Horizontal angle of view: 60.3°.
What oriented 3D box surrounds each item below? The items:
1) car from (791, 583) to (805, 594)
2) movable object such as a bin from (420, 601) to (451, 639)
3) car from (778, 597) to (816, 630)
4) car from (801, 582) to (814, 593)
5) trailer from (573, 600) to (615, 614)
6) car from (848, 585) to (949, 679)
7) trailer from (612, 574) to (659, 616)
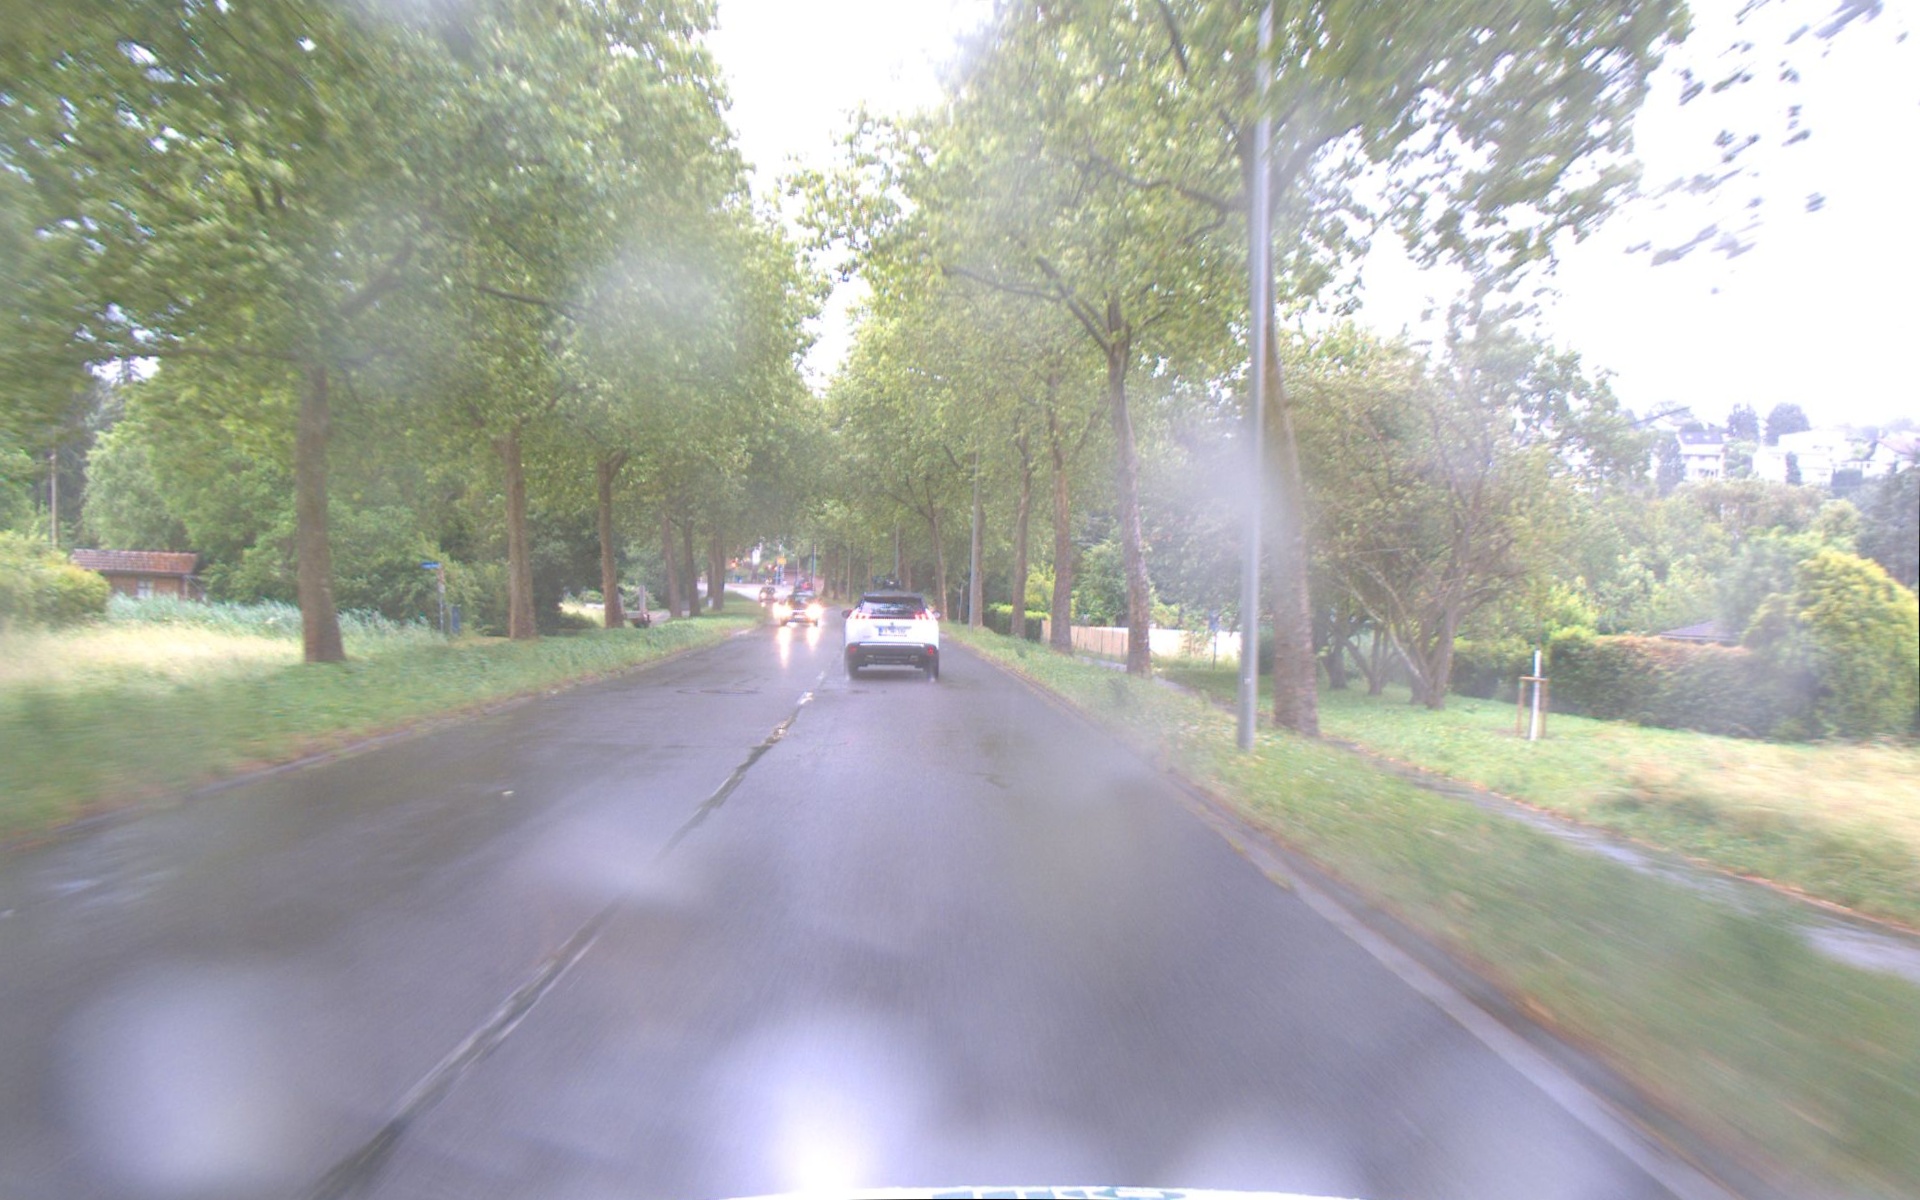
[{"bbox_3d":[-23.901,-1.720,244.017,1.791,1.624,3.651,2,0,-4],"label":"car"},{"bbox_3d":[-20.676,0.774,65.217,0.944,1.447,0.965,2,0,-6],"label":"movable object such as a bin"},{"bbox_3d":[-7.565,0.619,77.198,1.697,1.448,4.221,0,0,-5],"label":"car"},{"bbox_3d":[-21.630,-1.767,234.582,1.791,1.624,3.651,2,0,-4],"label":"car"},{"bbox_3d":[-31.539,0.583,142.415,3.492,1.199,1.816,0,1,-14],"label":"trailer"},{"bbox_3d":[-1.208,0.545,31.232,1.758,1.606,3.842,2,1,-4],"label":"car"},{"bbox_3d":[-21.003,-0.318,107.185,2.437,2.612,5.326,2,0,-6],"label":"trailer"}]
